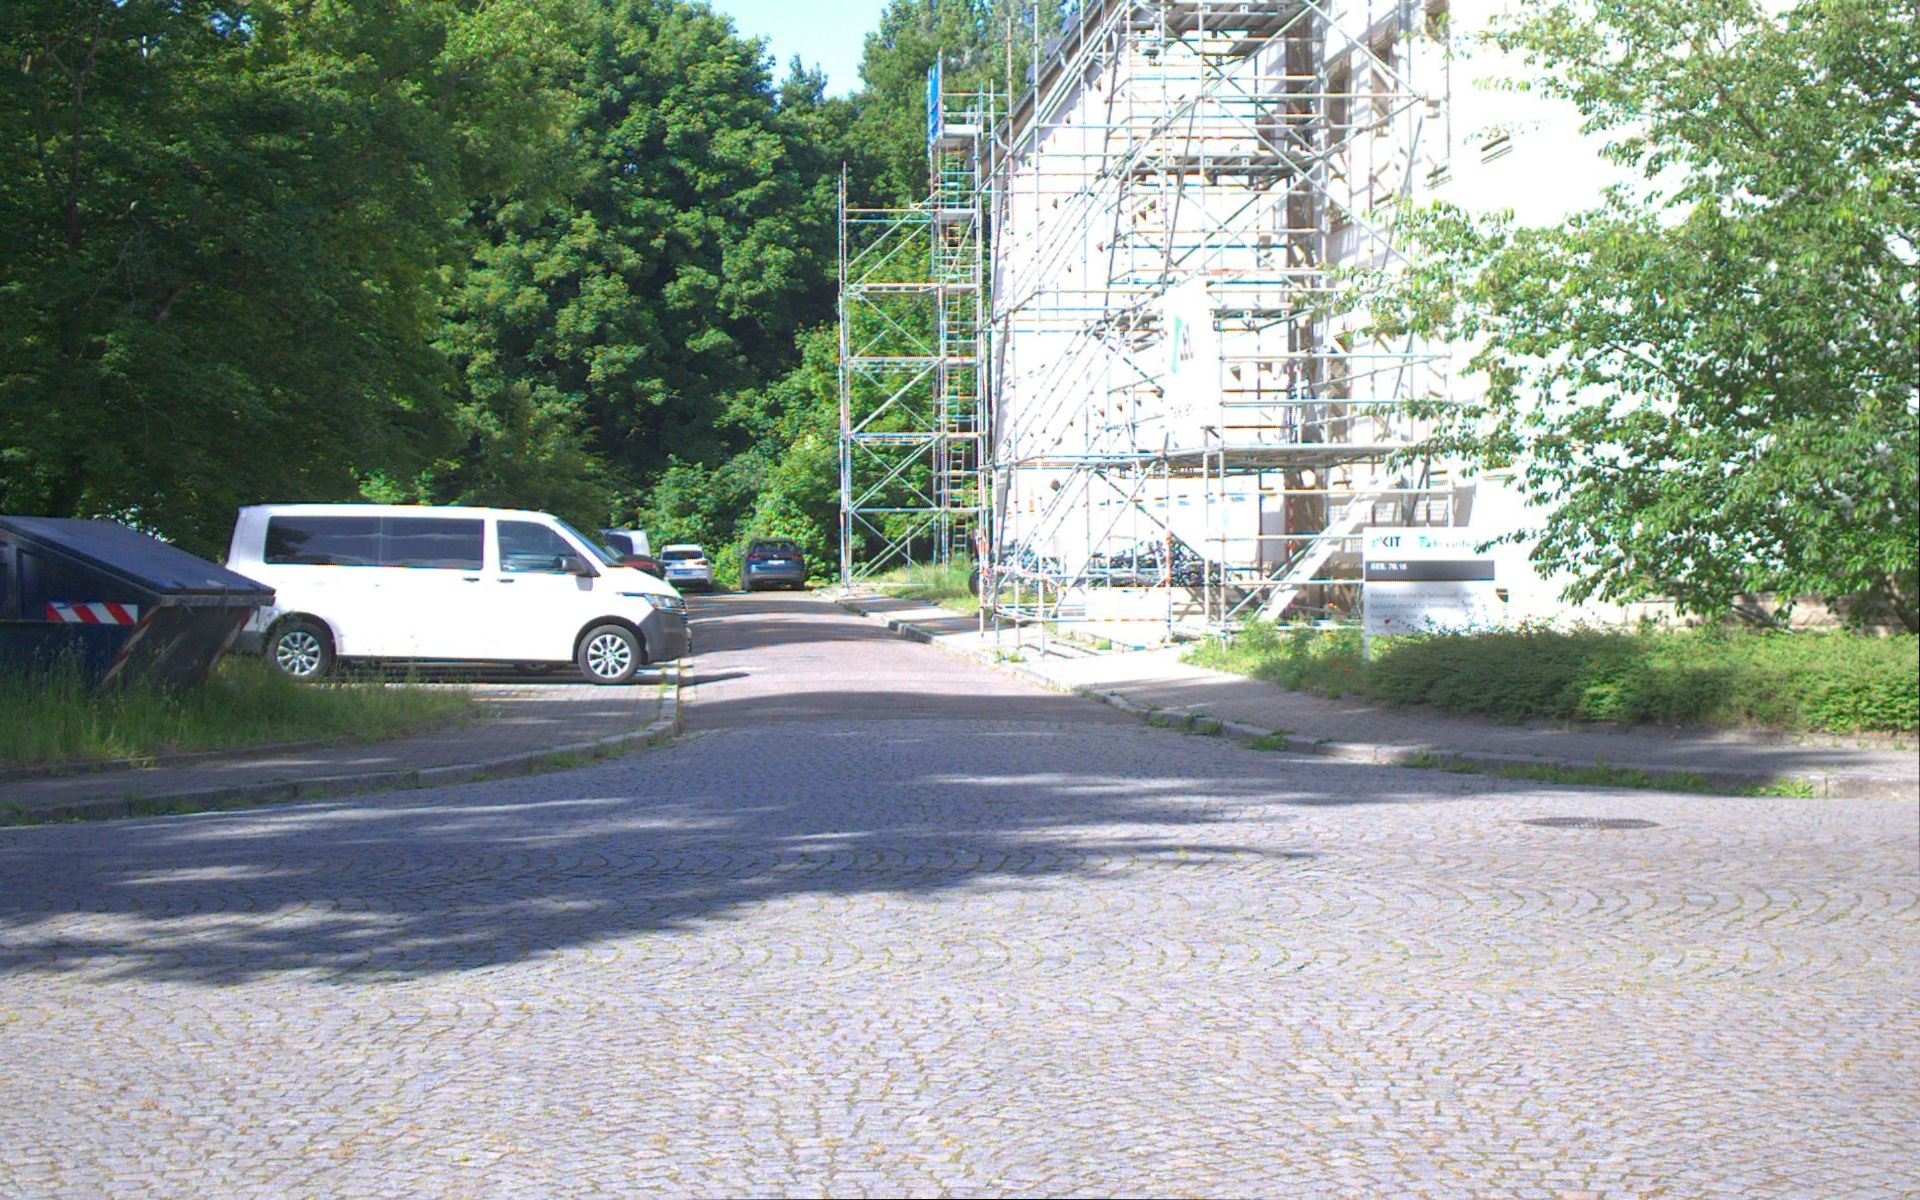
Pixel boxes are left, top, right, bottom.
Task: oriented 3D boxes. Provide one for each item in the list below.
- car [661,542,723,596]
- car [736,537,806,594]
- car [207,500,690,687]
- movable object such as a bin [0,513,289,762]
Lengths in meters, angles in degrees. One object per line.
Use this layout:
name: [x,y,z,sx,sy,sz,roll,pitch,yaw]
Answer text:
car: [-8.175,-0.965,104.740,1.812,1.574,4.135,-1,1,-5]
car: [-5.802,-1.061,105.214,1.970,1.662,4.087,-1,1,-5]
car: [-5.684,-0.090,38.726,5.233,2.009,1.950,0,1,-5]
movable object such as a bin: [-7.077,0.264,25.493,3.568,1.738,2.023,-1,1,14]
